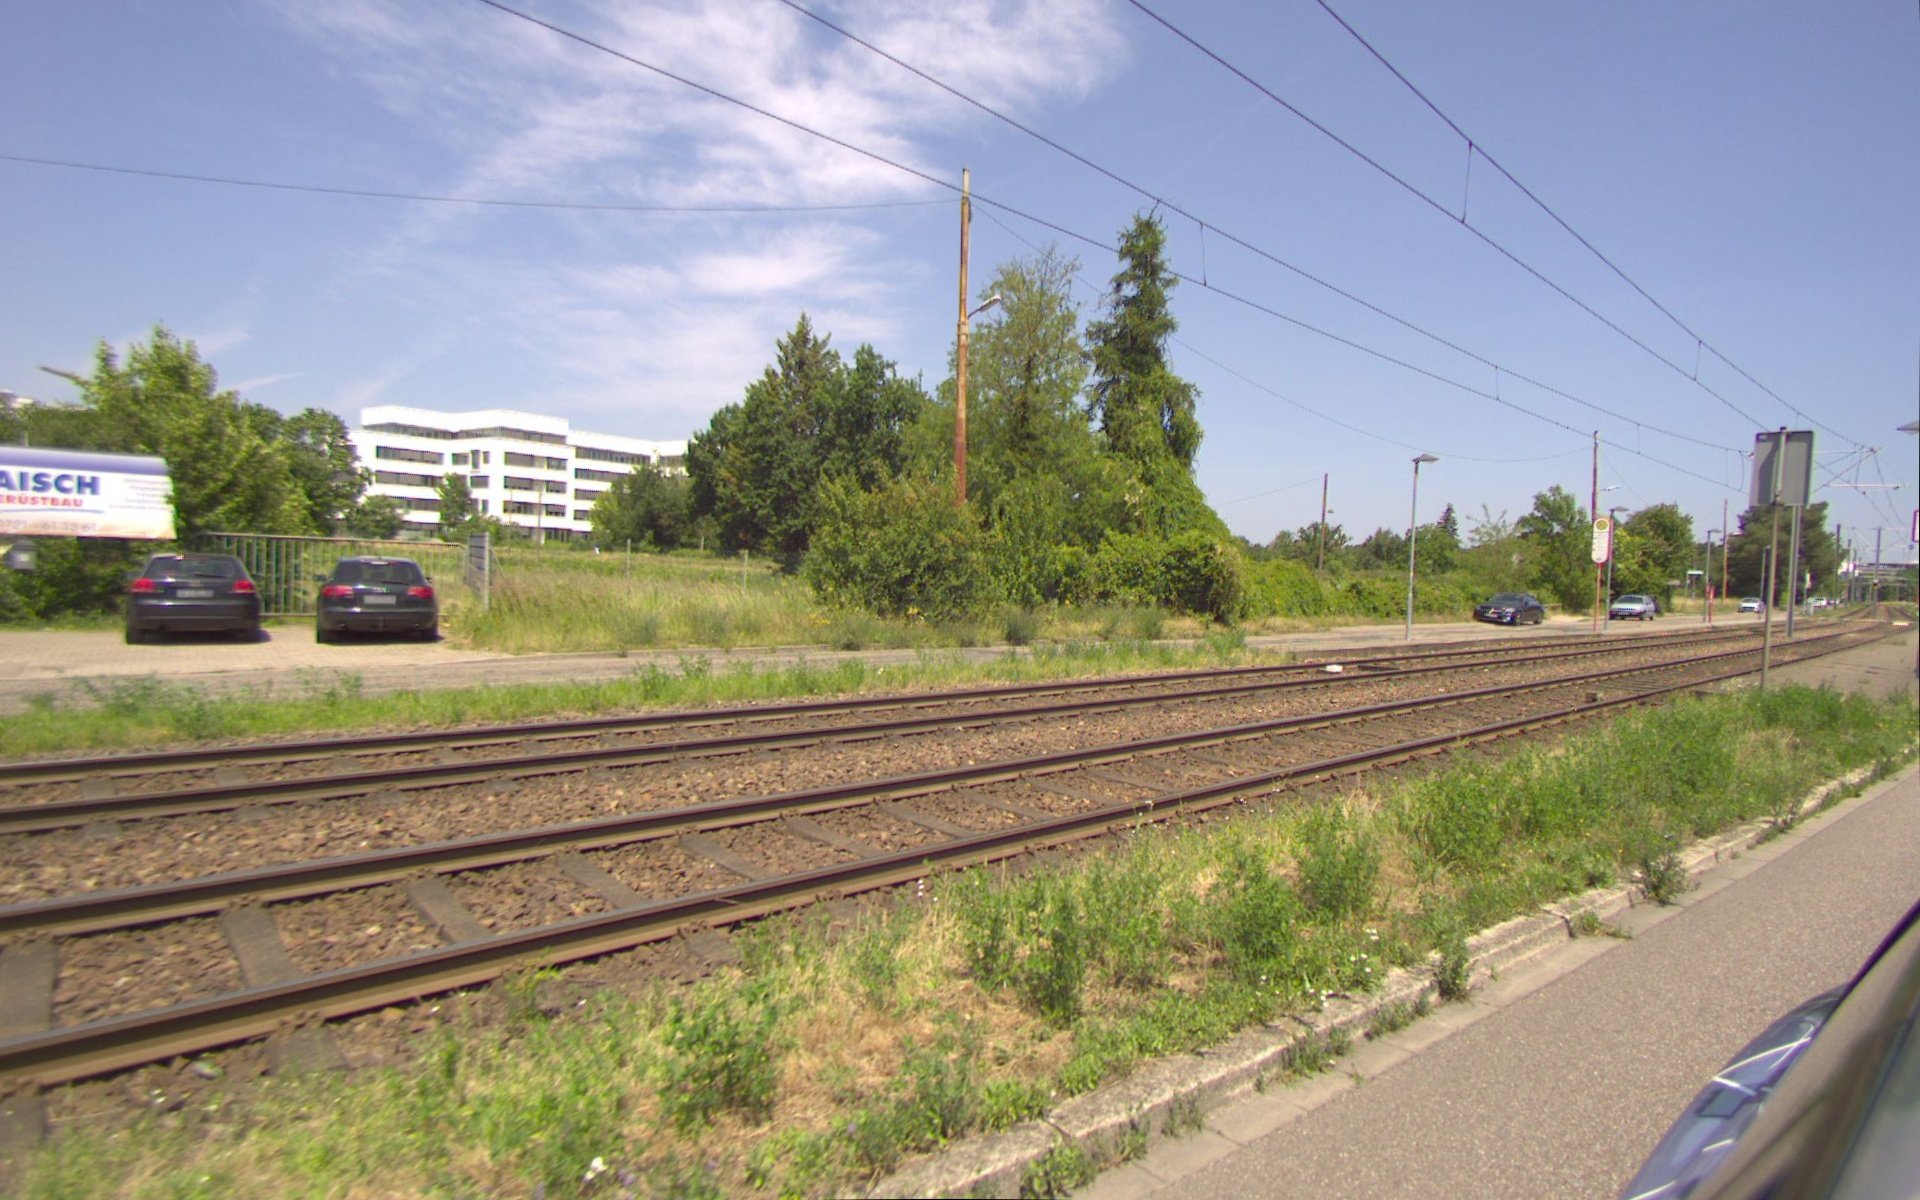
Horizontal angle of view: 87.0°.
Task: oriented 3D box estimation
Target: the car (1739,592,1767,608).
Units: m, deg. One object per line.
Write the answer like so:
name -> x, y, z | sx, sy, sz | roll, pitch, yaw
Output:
car -> 76.280, -0.019, 97.339 | 1.713, 1.507, 3.937 | 2, 2, 44

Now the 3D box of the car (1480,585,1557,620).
car -> 24.998, 0.093, 45.216 | 4.792, 1.440, 1.621 | 0, 2, -44

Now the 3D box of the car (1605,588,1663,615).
car -> 38.401, 0.089, 57.634 | 3.934, 1.440, 1.941 | 0, 2, -44

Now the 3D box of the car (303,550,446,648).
car -> -10.498, -0.072, 18.009 | 1.863, 1.536, 4.001 | 0, 2, -35

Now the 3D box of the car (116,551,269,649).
car -> -12.869, -0.052, 16.883 | 1.865, 1.437, 3.735 | 0, 2, -40
